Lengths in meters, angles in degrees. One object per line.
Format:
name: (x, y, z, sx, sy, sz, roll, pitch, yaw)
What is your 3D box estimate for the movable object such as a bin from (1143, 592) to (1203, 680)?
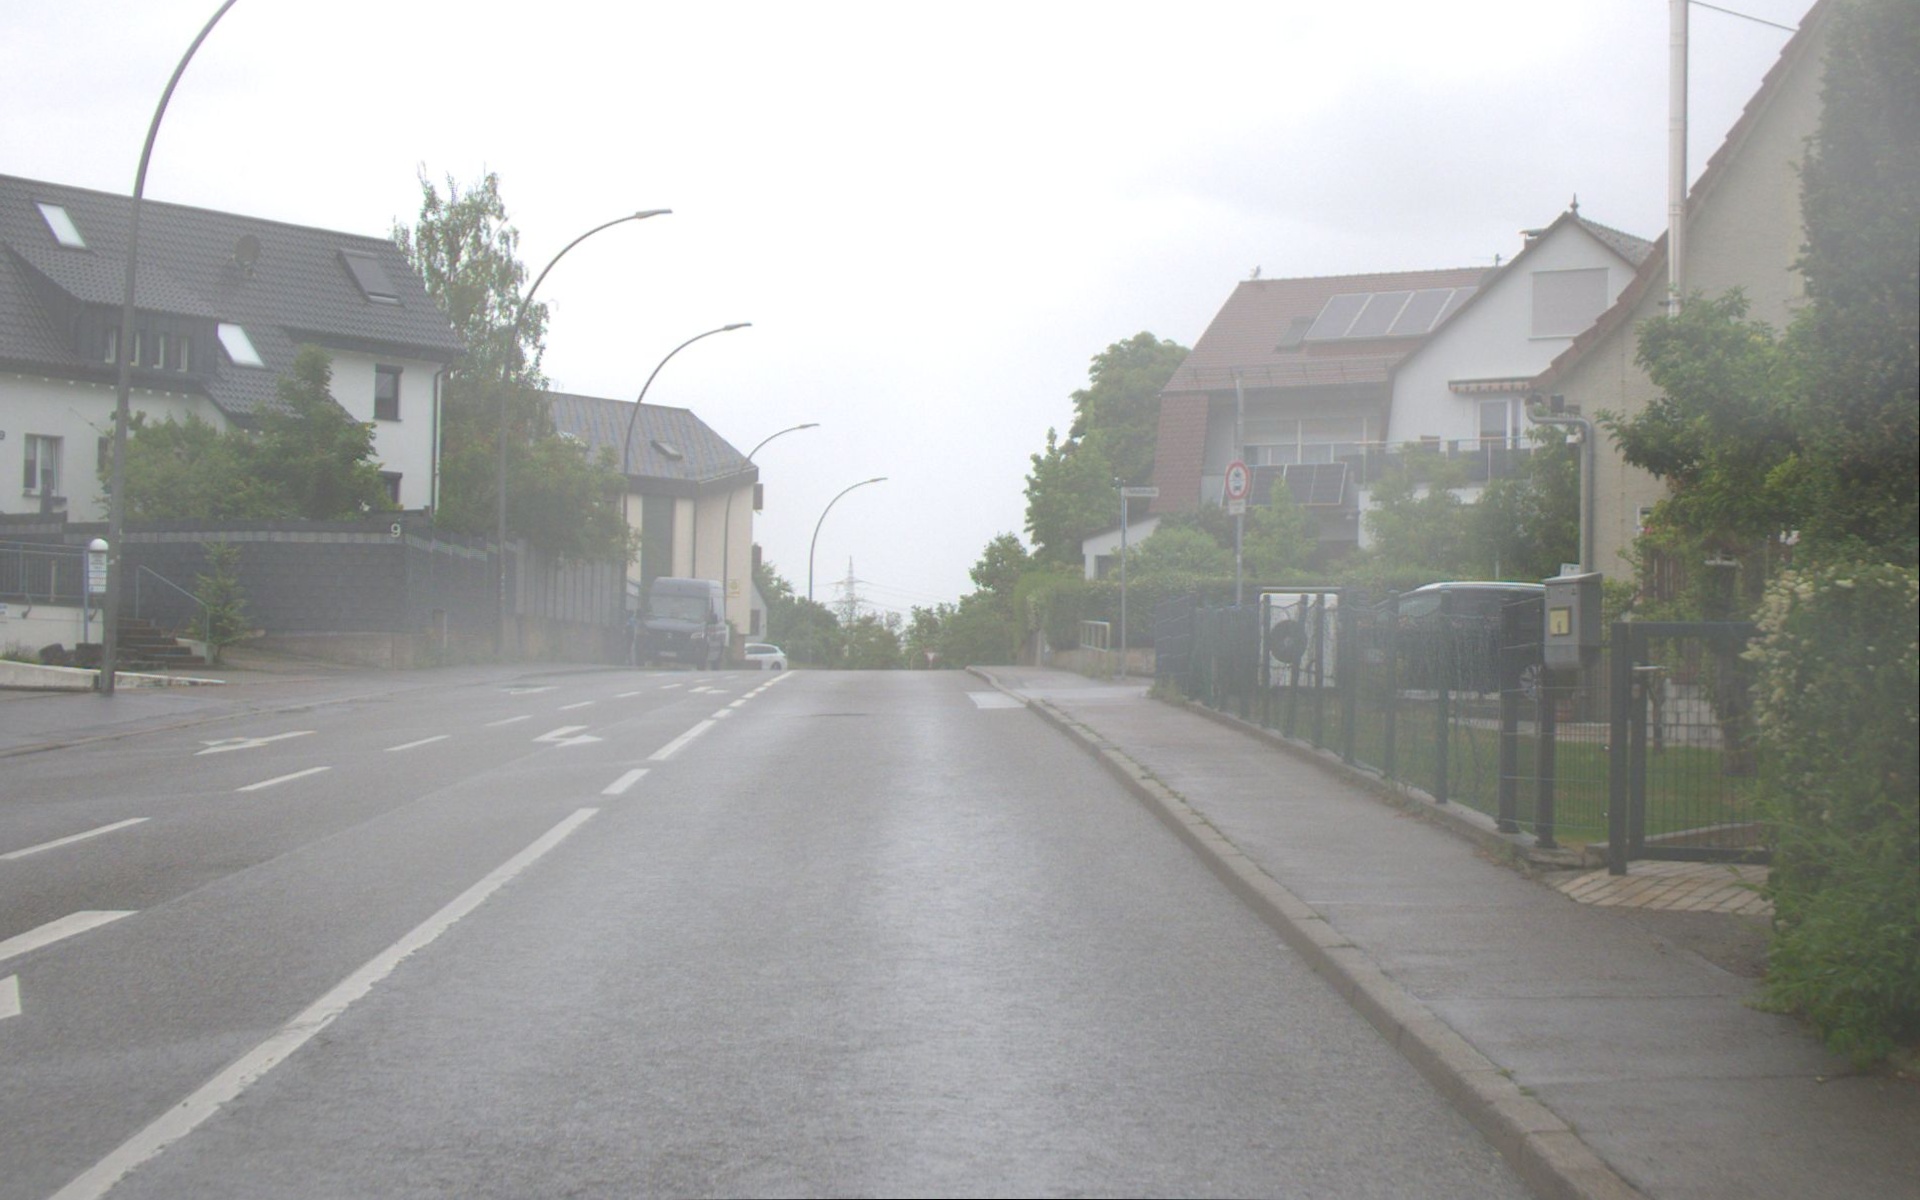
movable object such as a bin: (2.516, 0.422, 40.565, 0.530, 1.018, 0.732, -1, 0, 18)

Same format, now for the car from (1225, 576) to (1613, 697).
car: (5.797, 0.457, 43.274, 4.561, 1.379, 1.999, -1, 1, 17)

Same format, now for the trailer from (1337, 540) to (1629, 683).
trailer: (7.055, 0.152, 46.478, 3.459, 1.792, 1.684, 2, -1, 37)

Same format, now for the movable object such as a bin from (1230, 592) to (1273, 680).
movable object such as a bin: (3.440, 0.420, 40.529, 0.443, 1.018, 0.524, -1, 0, 10)

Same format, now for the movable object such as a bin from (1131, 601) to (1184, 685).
movable object such as a bin: (2.426, 0.524, 42.238, 0.627, 1.018, 0.540, -1, 0, 4)

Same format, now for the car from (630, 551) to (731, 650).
car: (-7.933, 0.063, 98.183, 2.094, 2.640, 5.917, 2, -1, 2)
